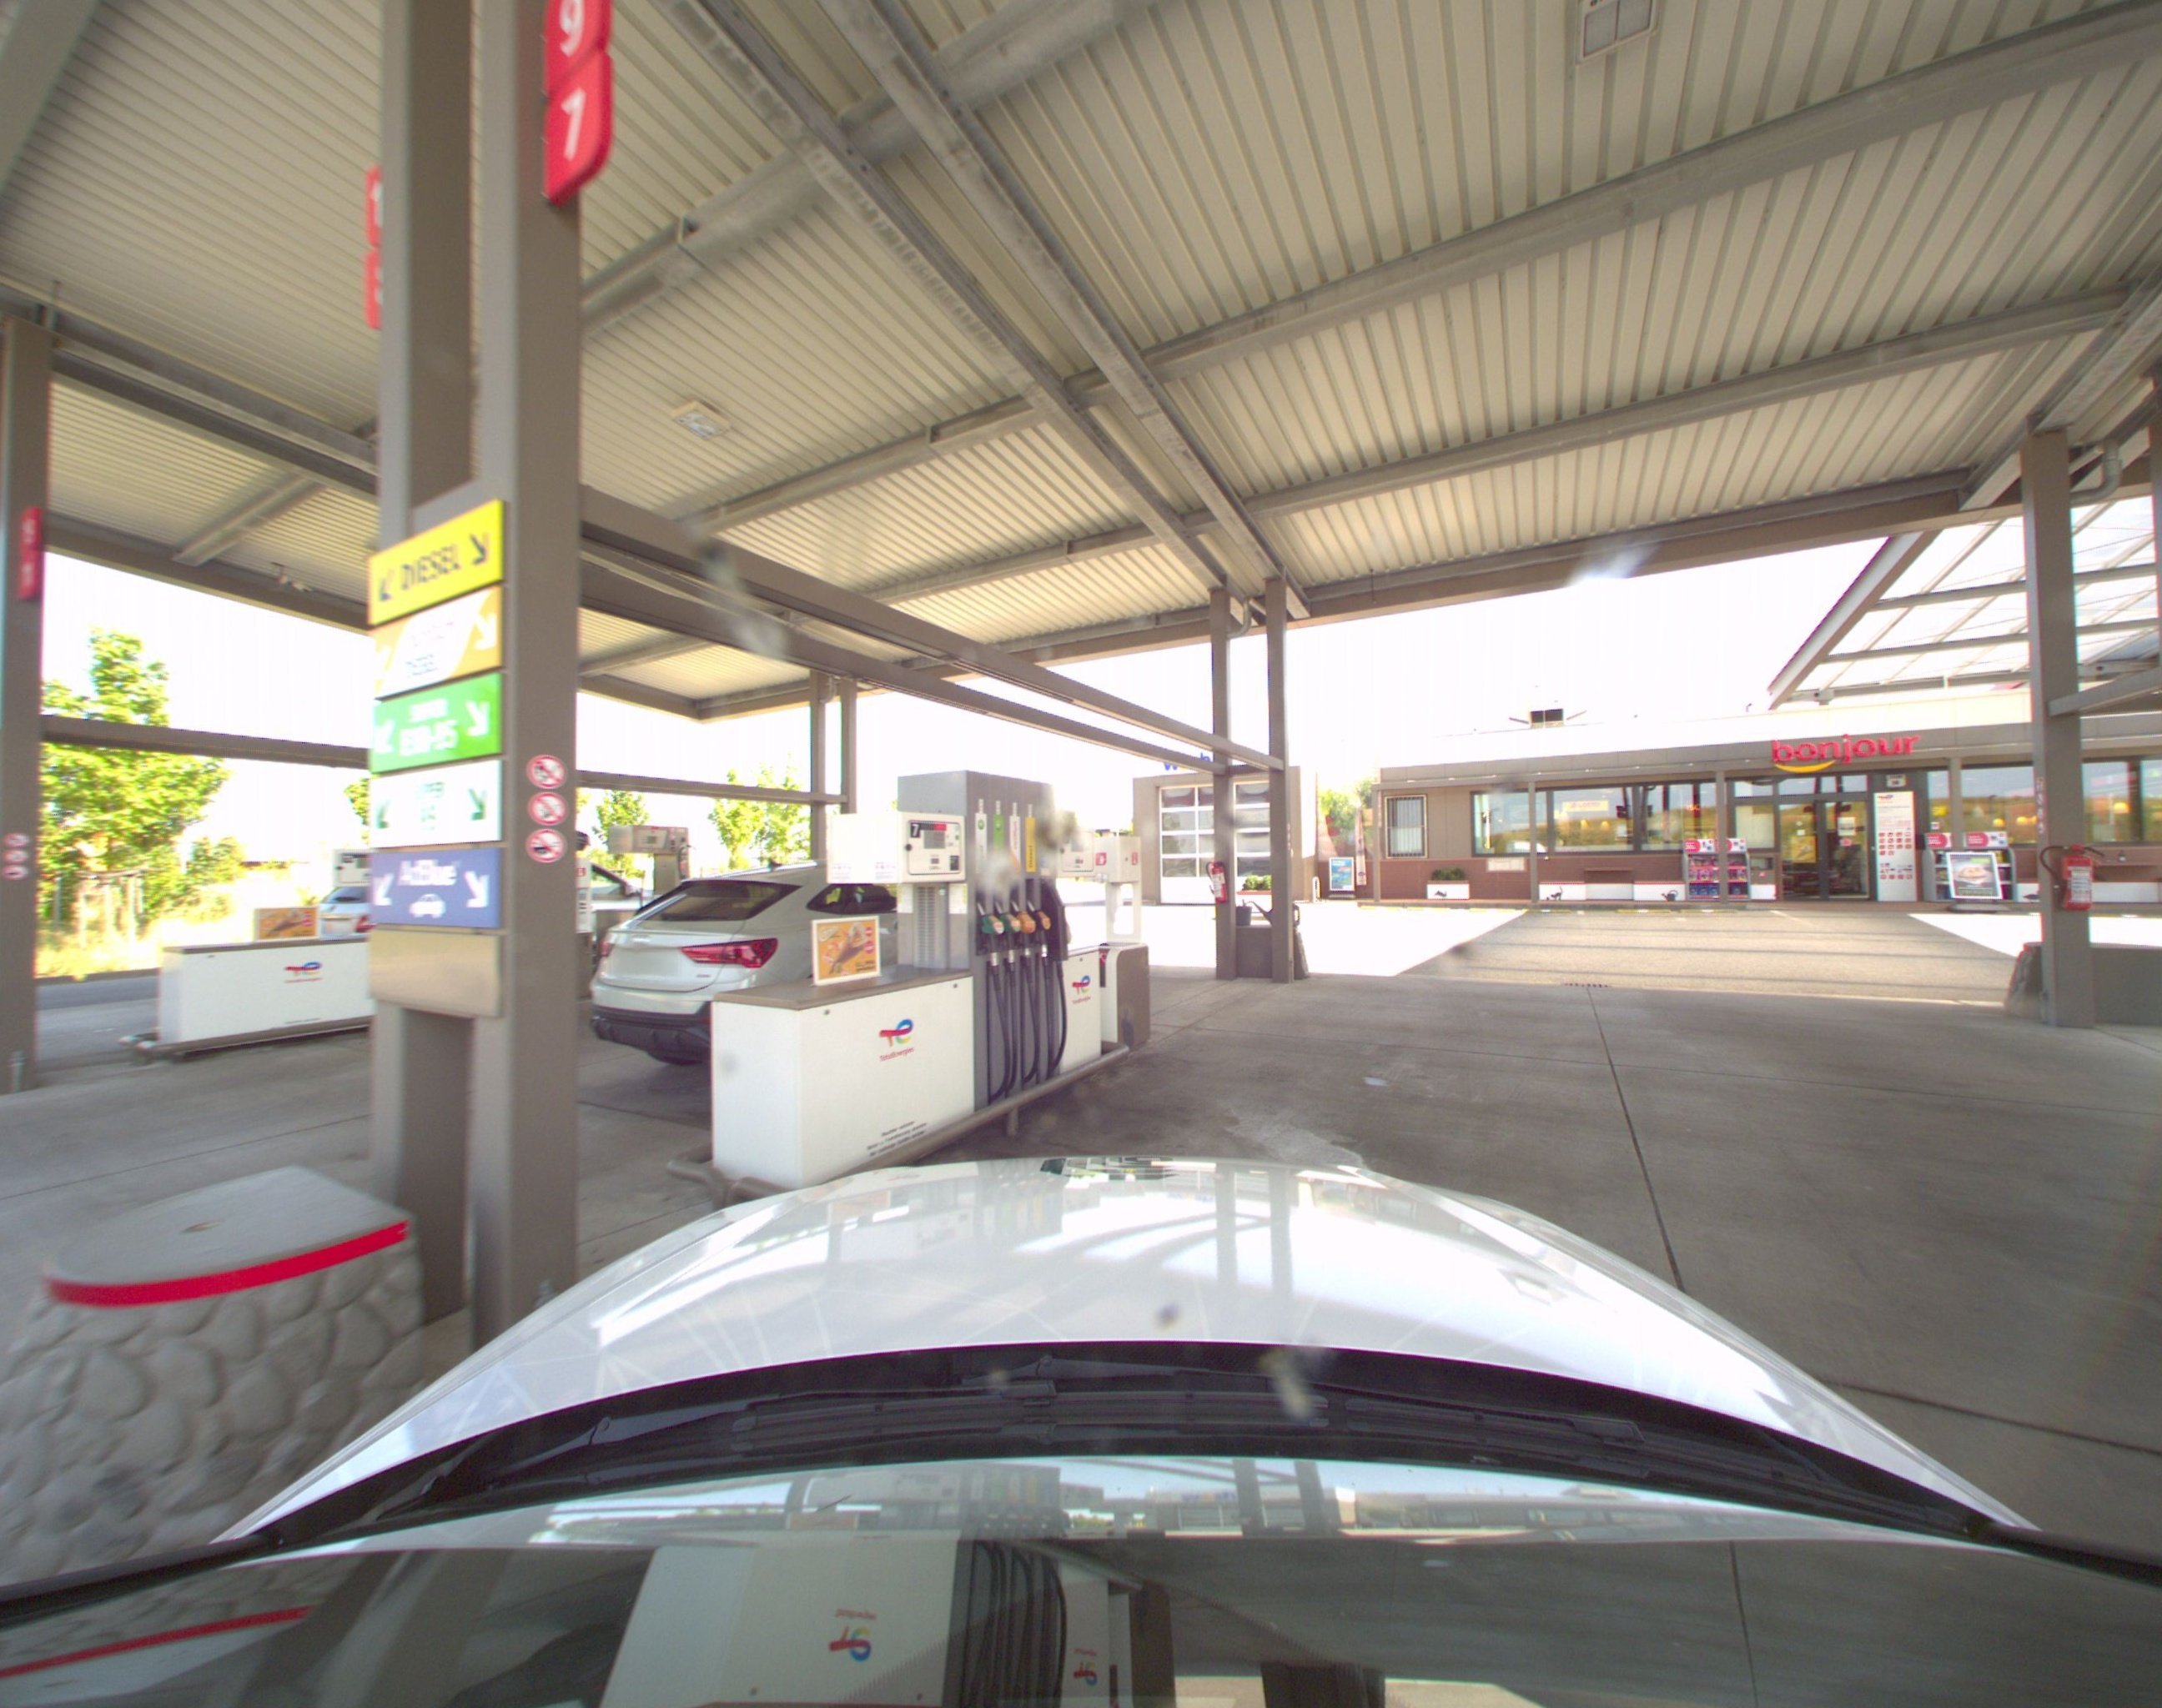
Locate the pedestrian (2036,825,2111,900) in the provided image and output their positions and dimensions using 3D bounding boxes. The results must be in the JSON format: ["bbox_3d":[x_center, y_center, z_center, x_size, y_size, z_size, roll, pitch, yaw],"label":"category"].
[{"bbox_3d":[19.504,0.172,16.023,0.694,1.432,0.677,-2,-1,29],"label":"pedestrian"}]

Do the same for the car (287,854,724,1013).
[{"bbox_3d":[-7.480,0.879,11.211,1.842,1.687,4.562,-2,-1,26],"label":"car"}]

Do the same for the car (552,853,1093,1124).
[{"bbox_3d":[-1.755,0.797,7.017,1.763,1.541,4.352,-2,-1,30],"label":"car"}]
